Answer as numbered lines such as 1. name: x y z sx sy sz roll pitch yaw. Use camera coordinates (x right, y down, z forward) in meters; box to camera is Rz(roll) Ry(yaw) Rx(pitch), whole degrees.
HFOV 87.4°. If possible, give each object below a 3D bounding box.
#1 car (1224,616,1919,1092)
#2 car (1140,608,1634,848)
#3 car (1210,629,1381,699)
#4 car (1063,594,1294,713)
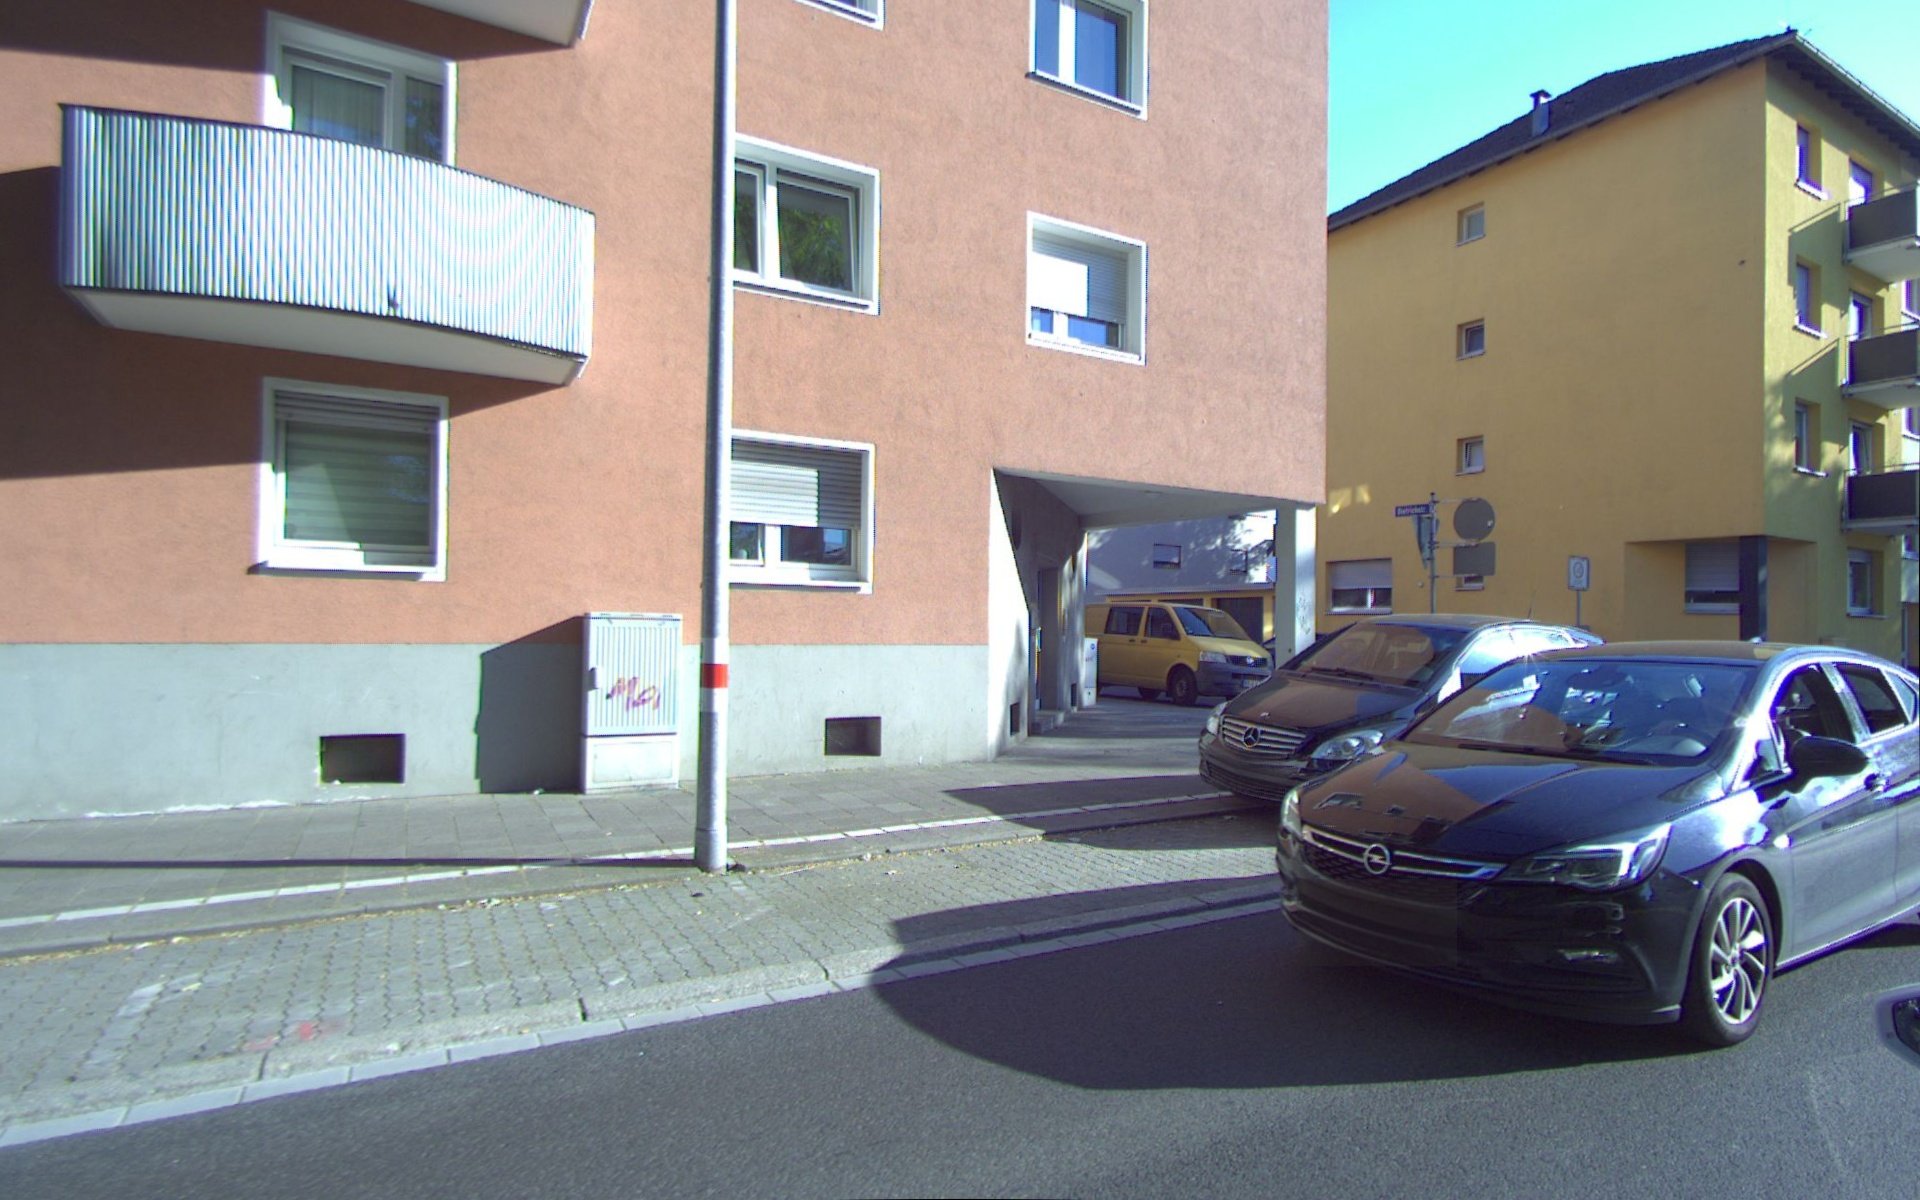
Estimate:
1. car: 3.514 0.868 5.023 4.271 1.498 1.763 1 -2 -30
2. car: 3.592 0.894 8.317 3.972 1.544 1.670 1 0 -29
3. car: 8.297 1.528 25.144 1.727 1.587 3.973 2 -2 -29
4. car: 4.141 1.002 19.907 1.895 2.040 4.728 1 -2 -28
